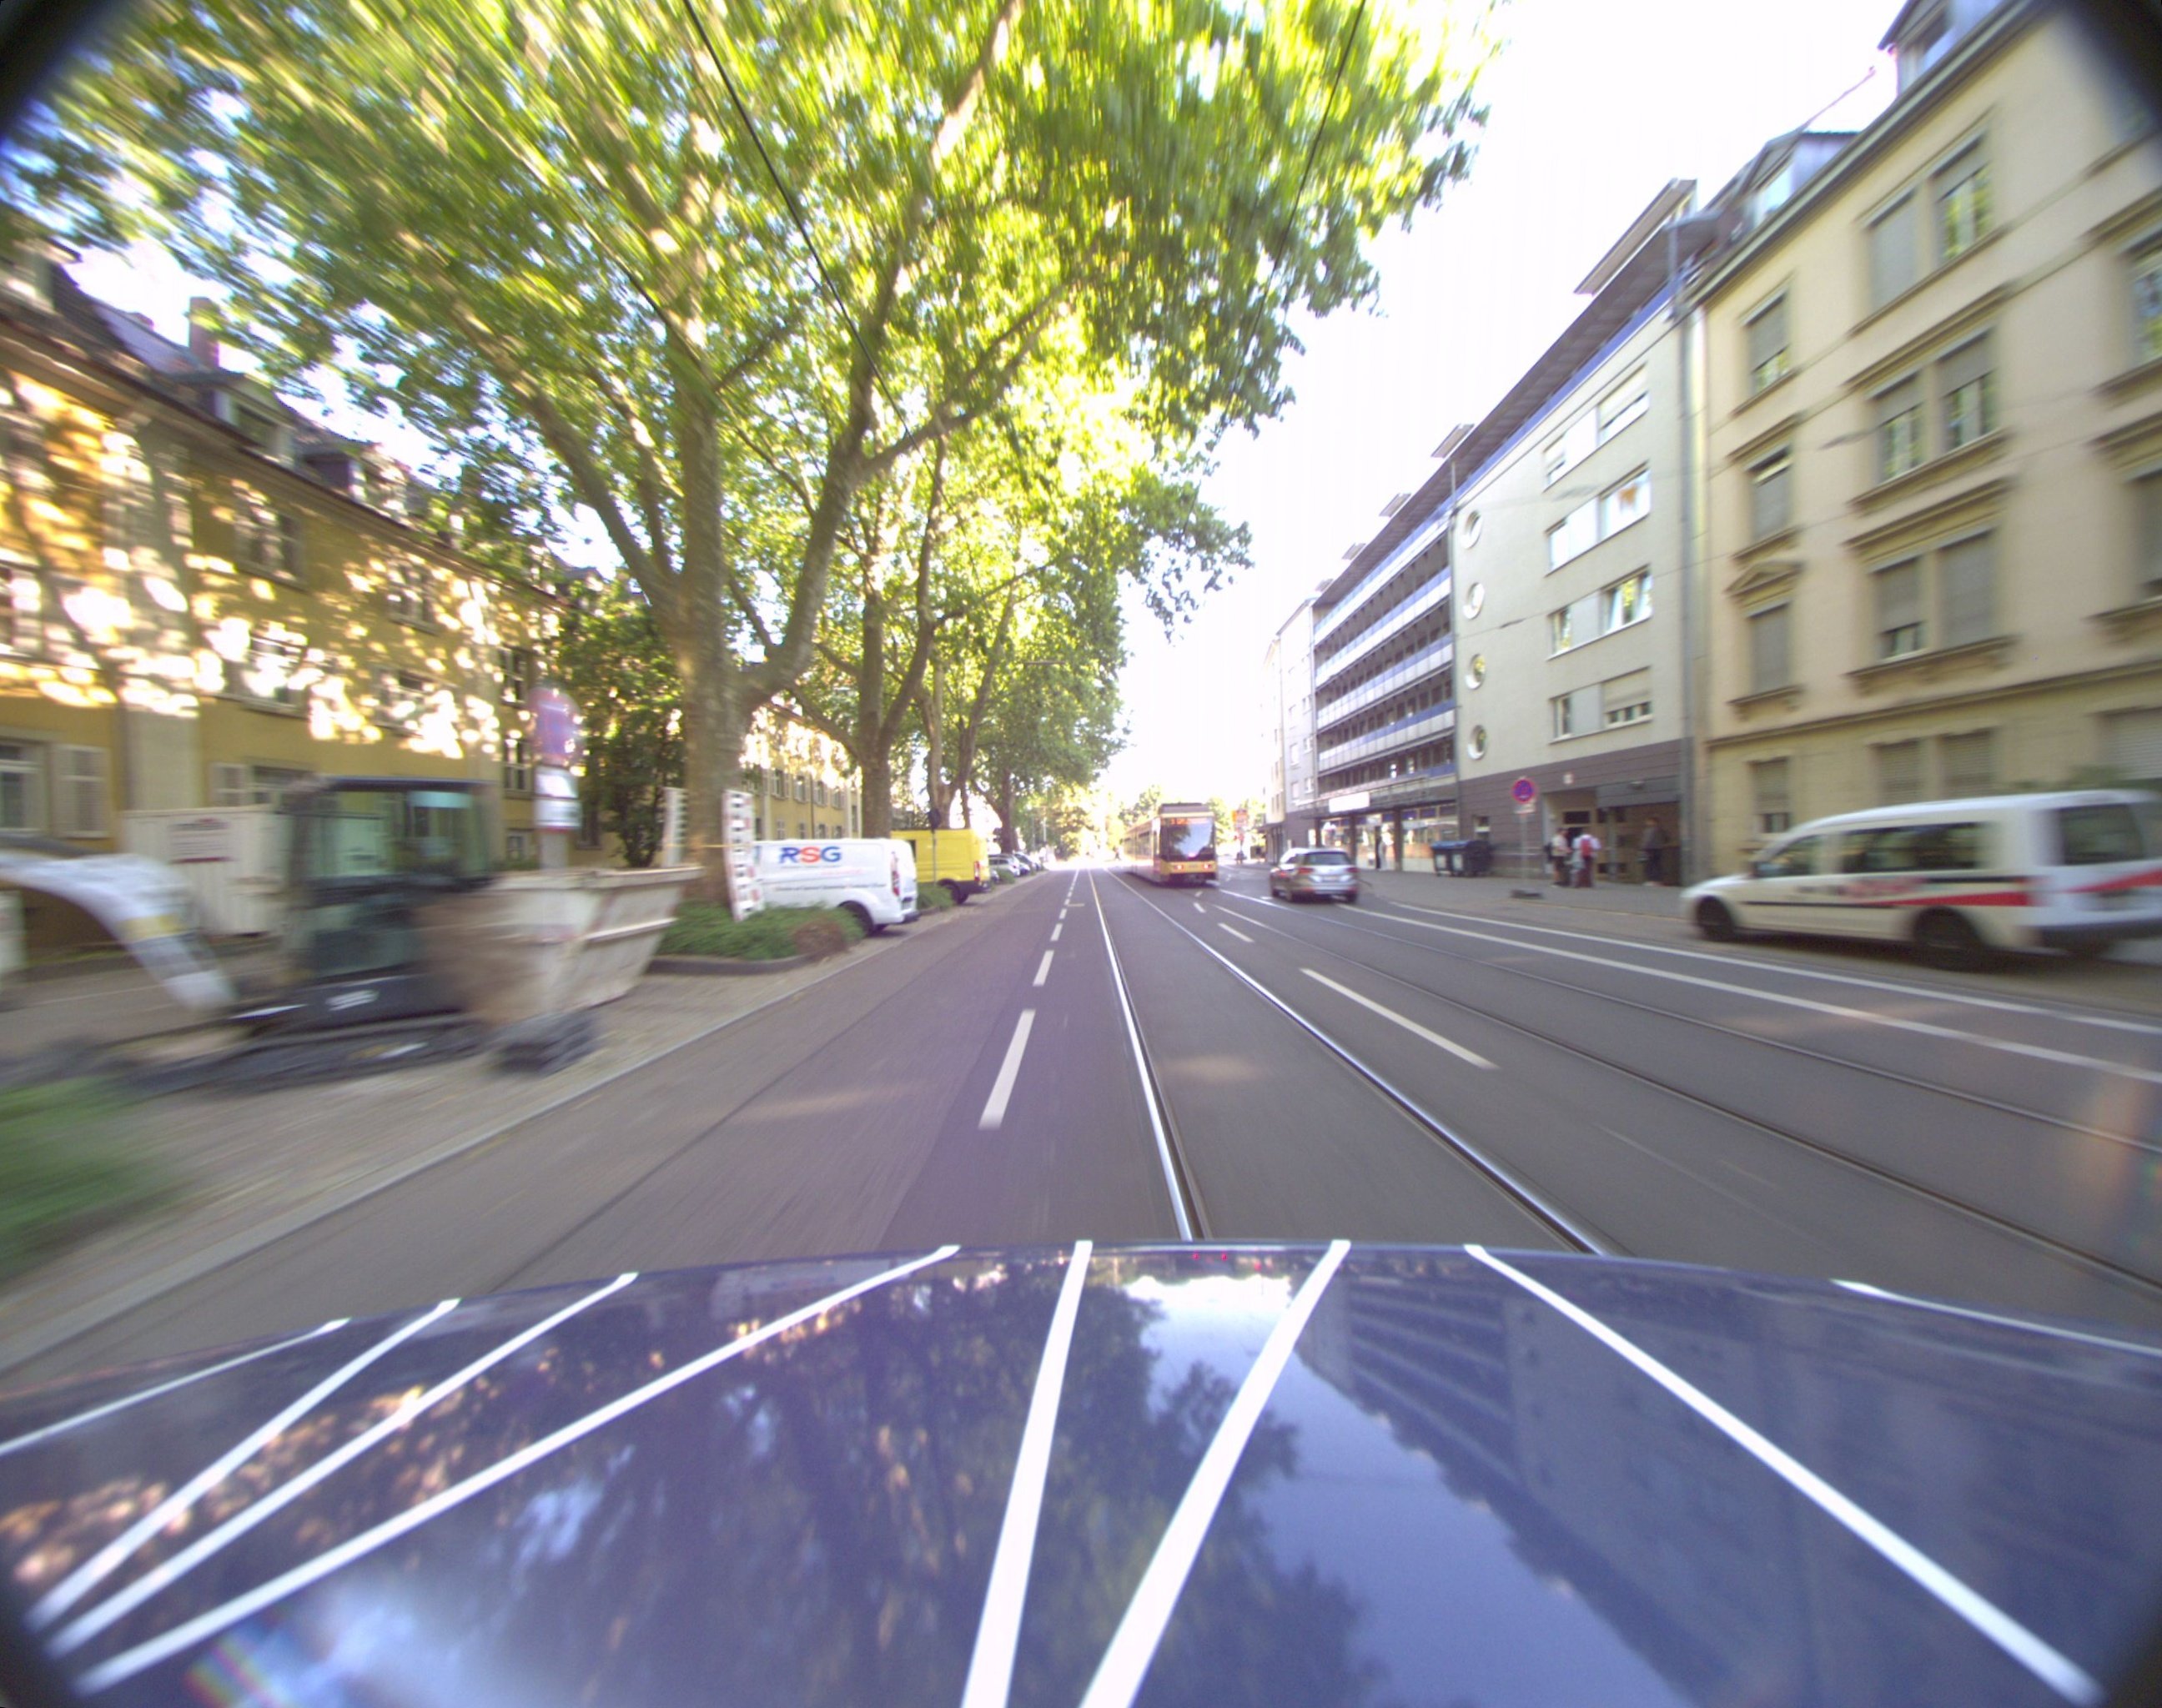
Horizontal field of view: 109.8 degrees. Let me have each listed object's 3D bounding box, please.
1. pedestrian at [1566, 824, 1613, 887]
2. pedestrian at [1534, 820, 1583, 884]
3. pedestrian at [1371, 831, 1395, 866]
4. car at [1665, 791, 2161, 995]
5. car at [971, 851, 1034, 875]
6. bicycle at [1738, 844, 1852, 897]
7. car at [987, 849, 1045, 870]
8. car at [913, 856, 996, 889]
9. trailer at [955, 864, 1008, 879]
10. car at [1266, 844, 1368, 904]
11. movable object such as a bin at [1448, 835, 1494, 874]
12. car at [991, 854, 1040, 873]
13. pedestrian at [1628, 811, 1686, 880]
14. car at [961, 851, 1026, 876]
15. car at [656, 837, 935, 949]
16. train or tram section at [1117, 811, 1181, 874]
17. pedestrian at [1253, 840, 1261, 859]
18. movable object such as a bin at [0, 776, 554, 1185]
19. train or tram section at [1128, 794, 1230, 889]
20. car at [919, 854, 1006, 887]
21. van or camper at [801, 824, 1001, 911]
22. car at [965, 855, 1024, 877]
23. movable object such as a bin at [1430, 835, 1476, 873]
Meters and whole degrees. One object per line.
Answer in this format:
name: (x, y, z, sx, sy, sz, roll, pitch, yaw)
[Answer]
pedestrian: (13.746, 0.029, 20.552, 0.729, 1.623, 0.687, -4, 1, -1)
pedestrian: (13.833, -0.052, 22.010, 0.866, 1.774, 0.736, -4, 1, -1)
pedestrian: (15.422, -0.305, 38.794, 0.789, 1.703, 0.819, -5, 1, 0)
car: (9.633, 0.309, 8.998, 1.793, 1.760, 4.469, -4, 1, -3)
car: (-5.742, 0.679, 55.841, 4.437, 1.648, 1.907, -1, 1, -1)
bicycle: (14.625, 0.306, 15.657, 0.648, 0.965, 2.140, -3, 0, 11)
car: (-5.958, 0.503, 70.264, 5.126, 1.845, 1.914, 0, 2, 0)
car: (-5.971, 0.860, 36.143, 3.663, 1.418, 1.737, -1, 1, -3)
trailer: (-6.216, 1.092, 47.751, 3.046, 0.898, 1.437, 0, 1, 7)
car: (6.533, 0.489, 21.535, 1.799, 1.437, 4.717, -1, 1, 5)
movable object such as a bin: (14.882, 0.006, 29.012, 1.059, 1.442, 1.210, -2, 1, -4)
car: (-5.377, 0.767, 62.405, 3.891, 1.488, 1.741, -1, 1, -3)
pedestrian: (15.818, -0.232, 20.878, 0.965, 1.803, 0.729, -4, 1, 1)
car: (-6.133, 0.661, 53.511, 4.318, 1.721, 1.841, 0, 0, 4)
car: (-5.620, 0.742, 15.467, 4.847, 2.001, 2.063, -2, 1, 0)
train or tram section: (4.128, -0.709, 49.458, 2.916, 3.466, 13.367, -2, 1, 0)
pedestrian: (15.895, -0.433, 68.627, 0.716, 1.664, 0.905, -2, 1, 12)
movable object such as a bin: (-6.023, 0.687, 5.448, 1.482, 2.256, 3.282, -1, 1, 34)
train or tram section: (4.121, -0.533, 35.637, 2.916, 3.466, 14.196, -2, 1, 0)
car: (-5.969, 0.804, 38.604, 4.087, 1.541, 1.830, -1, 1, 0)
van or camper: (-5.825, 0.413, 25.195, 5.939, 2.615, 2.270, -2, 2, 2)
car: (-5.719, 0.785, 50.348, 3.660, 1.416, 1.865, 0, 0, 2)
movable object such as a bin: (14.786, -0.017, 30.243, 1.142, 1.442, 1.213, -2, 1, -4)
